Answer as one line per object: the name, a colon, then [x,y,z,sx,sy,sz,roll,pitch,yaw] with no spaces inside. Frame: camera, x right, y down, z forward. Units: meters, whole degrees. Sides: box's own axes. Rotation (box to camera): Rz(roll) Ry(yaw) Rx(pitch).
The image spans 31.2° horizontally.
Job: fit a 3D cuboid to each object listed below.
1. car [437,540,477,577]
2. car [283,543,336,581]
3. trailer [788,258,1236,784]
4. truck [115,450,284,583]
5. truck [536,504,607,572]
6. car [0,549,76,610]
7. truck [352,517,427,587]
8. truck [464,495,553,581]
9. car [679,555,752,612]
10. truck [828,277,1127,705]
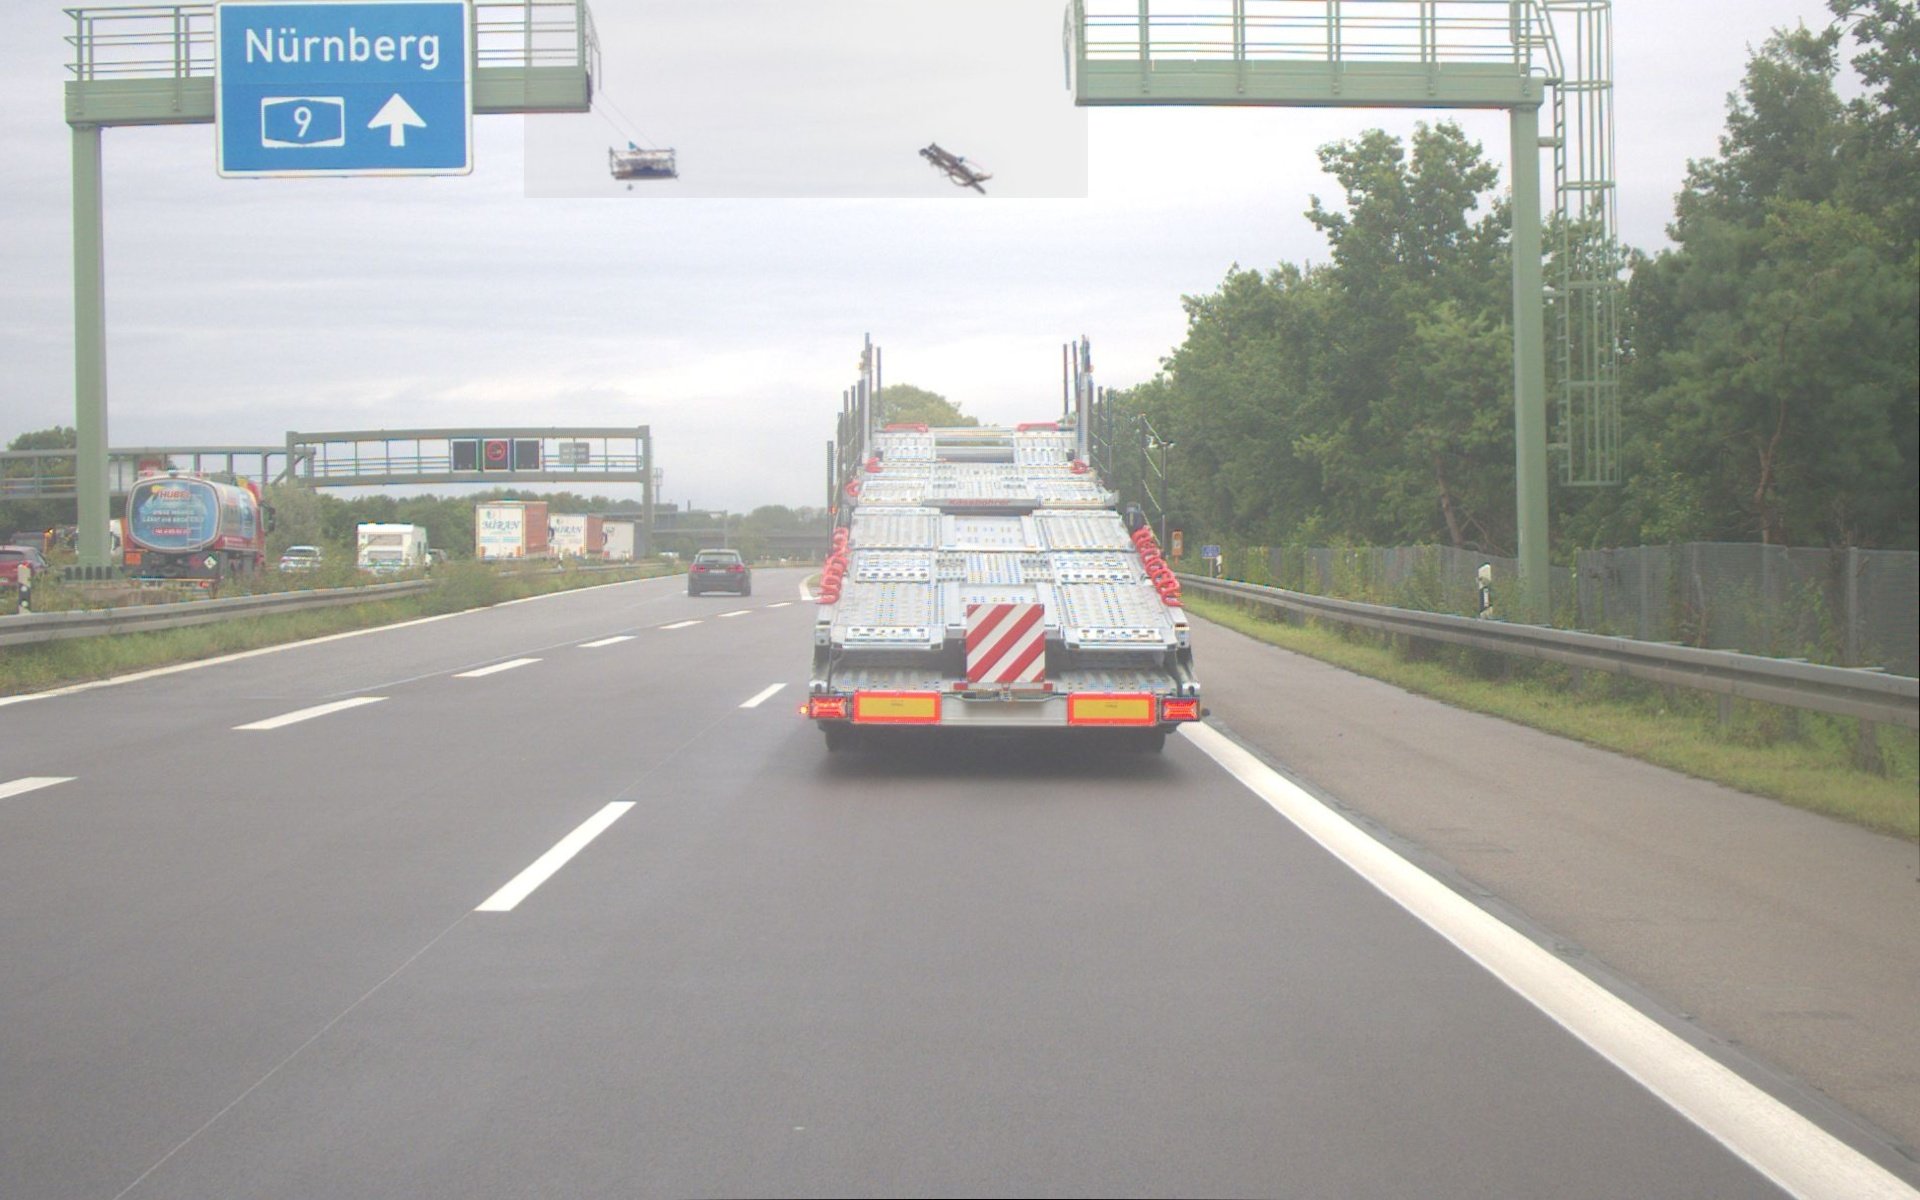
car: [-27.575,-2.266,188.601,1.729,2.007,4.000,1,0,-2]
car: [-26.575,-1.557,140.603,1.682,1.525,4.001,1,1,-4]
trailer: [0.236,-0.589,26.880,2.777,3.273,10.408,1,1,-1]
truck: [-20.158,-2.176,91.597,2.856,3.353,8.632,0,1,-2]
truck: [-25.909,-4.124,229.972,3.733,4.402,11.898,1,1,-2]
car: [-24.358,-0.537,89.517,1.794,1.551,3.827,1,0,-2]
truck: [-22.462,-1.896,135.486,2.243,2.695,5.280,1,1,-2]
truck: [-24.101,-3.306,183.937,3.733,4.402,10.196,1,1,-2]
car: [-7.309,-0.510,103.202,1.961,1.632,5.625,1,0,-2]
truck: [0.032,-1.103,36.654,2.738,3.954,9.129,1,1,-2]
